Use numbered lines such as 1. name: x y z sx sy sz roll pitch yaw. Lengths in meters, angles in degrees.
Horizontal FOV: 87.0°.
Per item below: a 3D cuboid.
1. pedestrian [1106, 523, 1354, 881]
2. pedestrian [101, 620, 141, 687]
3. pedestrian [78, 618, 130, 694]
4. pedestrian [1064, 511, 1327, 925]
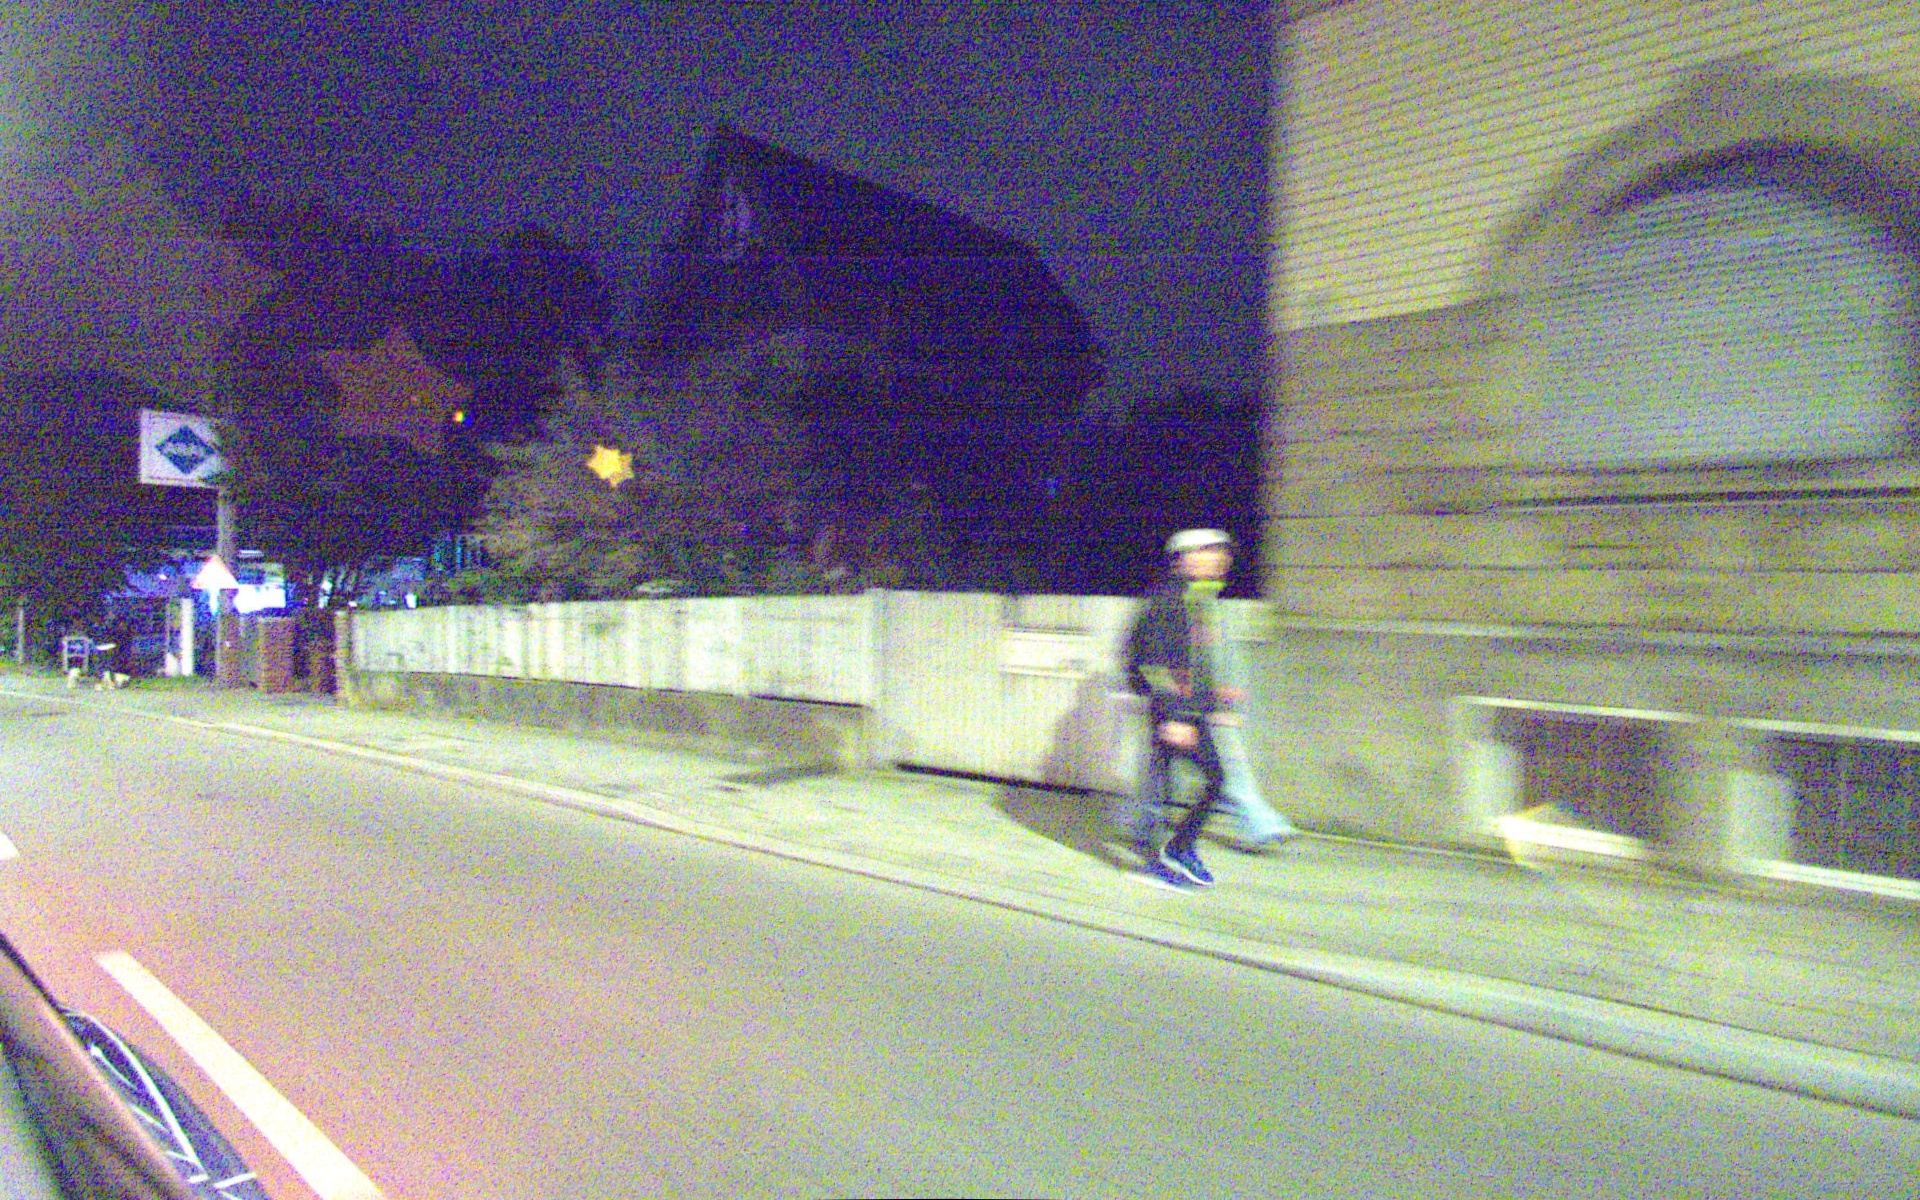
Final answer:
1. pedestrian: 1.487 0.506 5.609 1.102 1.758 0.734 -1 -1 40
2. pedestrian: -22.296 1.413 26.889 0.865 1.739 0.662 -2 -1 38
3. pedestrian: -19.797 1.269 23.412 1.102 1.684 0.734 -1 -1 40
4. pedestrian: 1.127 0.506 4.892 1.028 1.758 0.668 -1 -1 40
